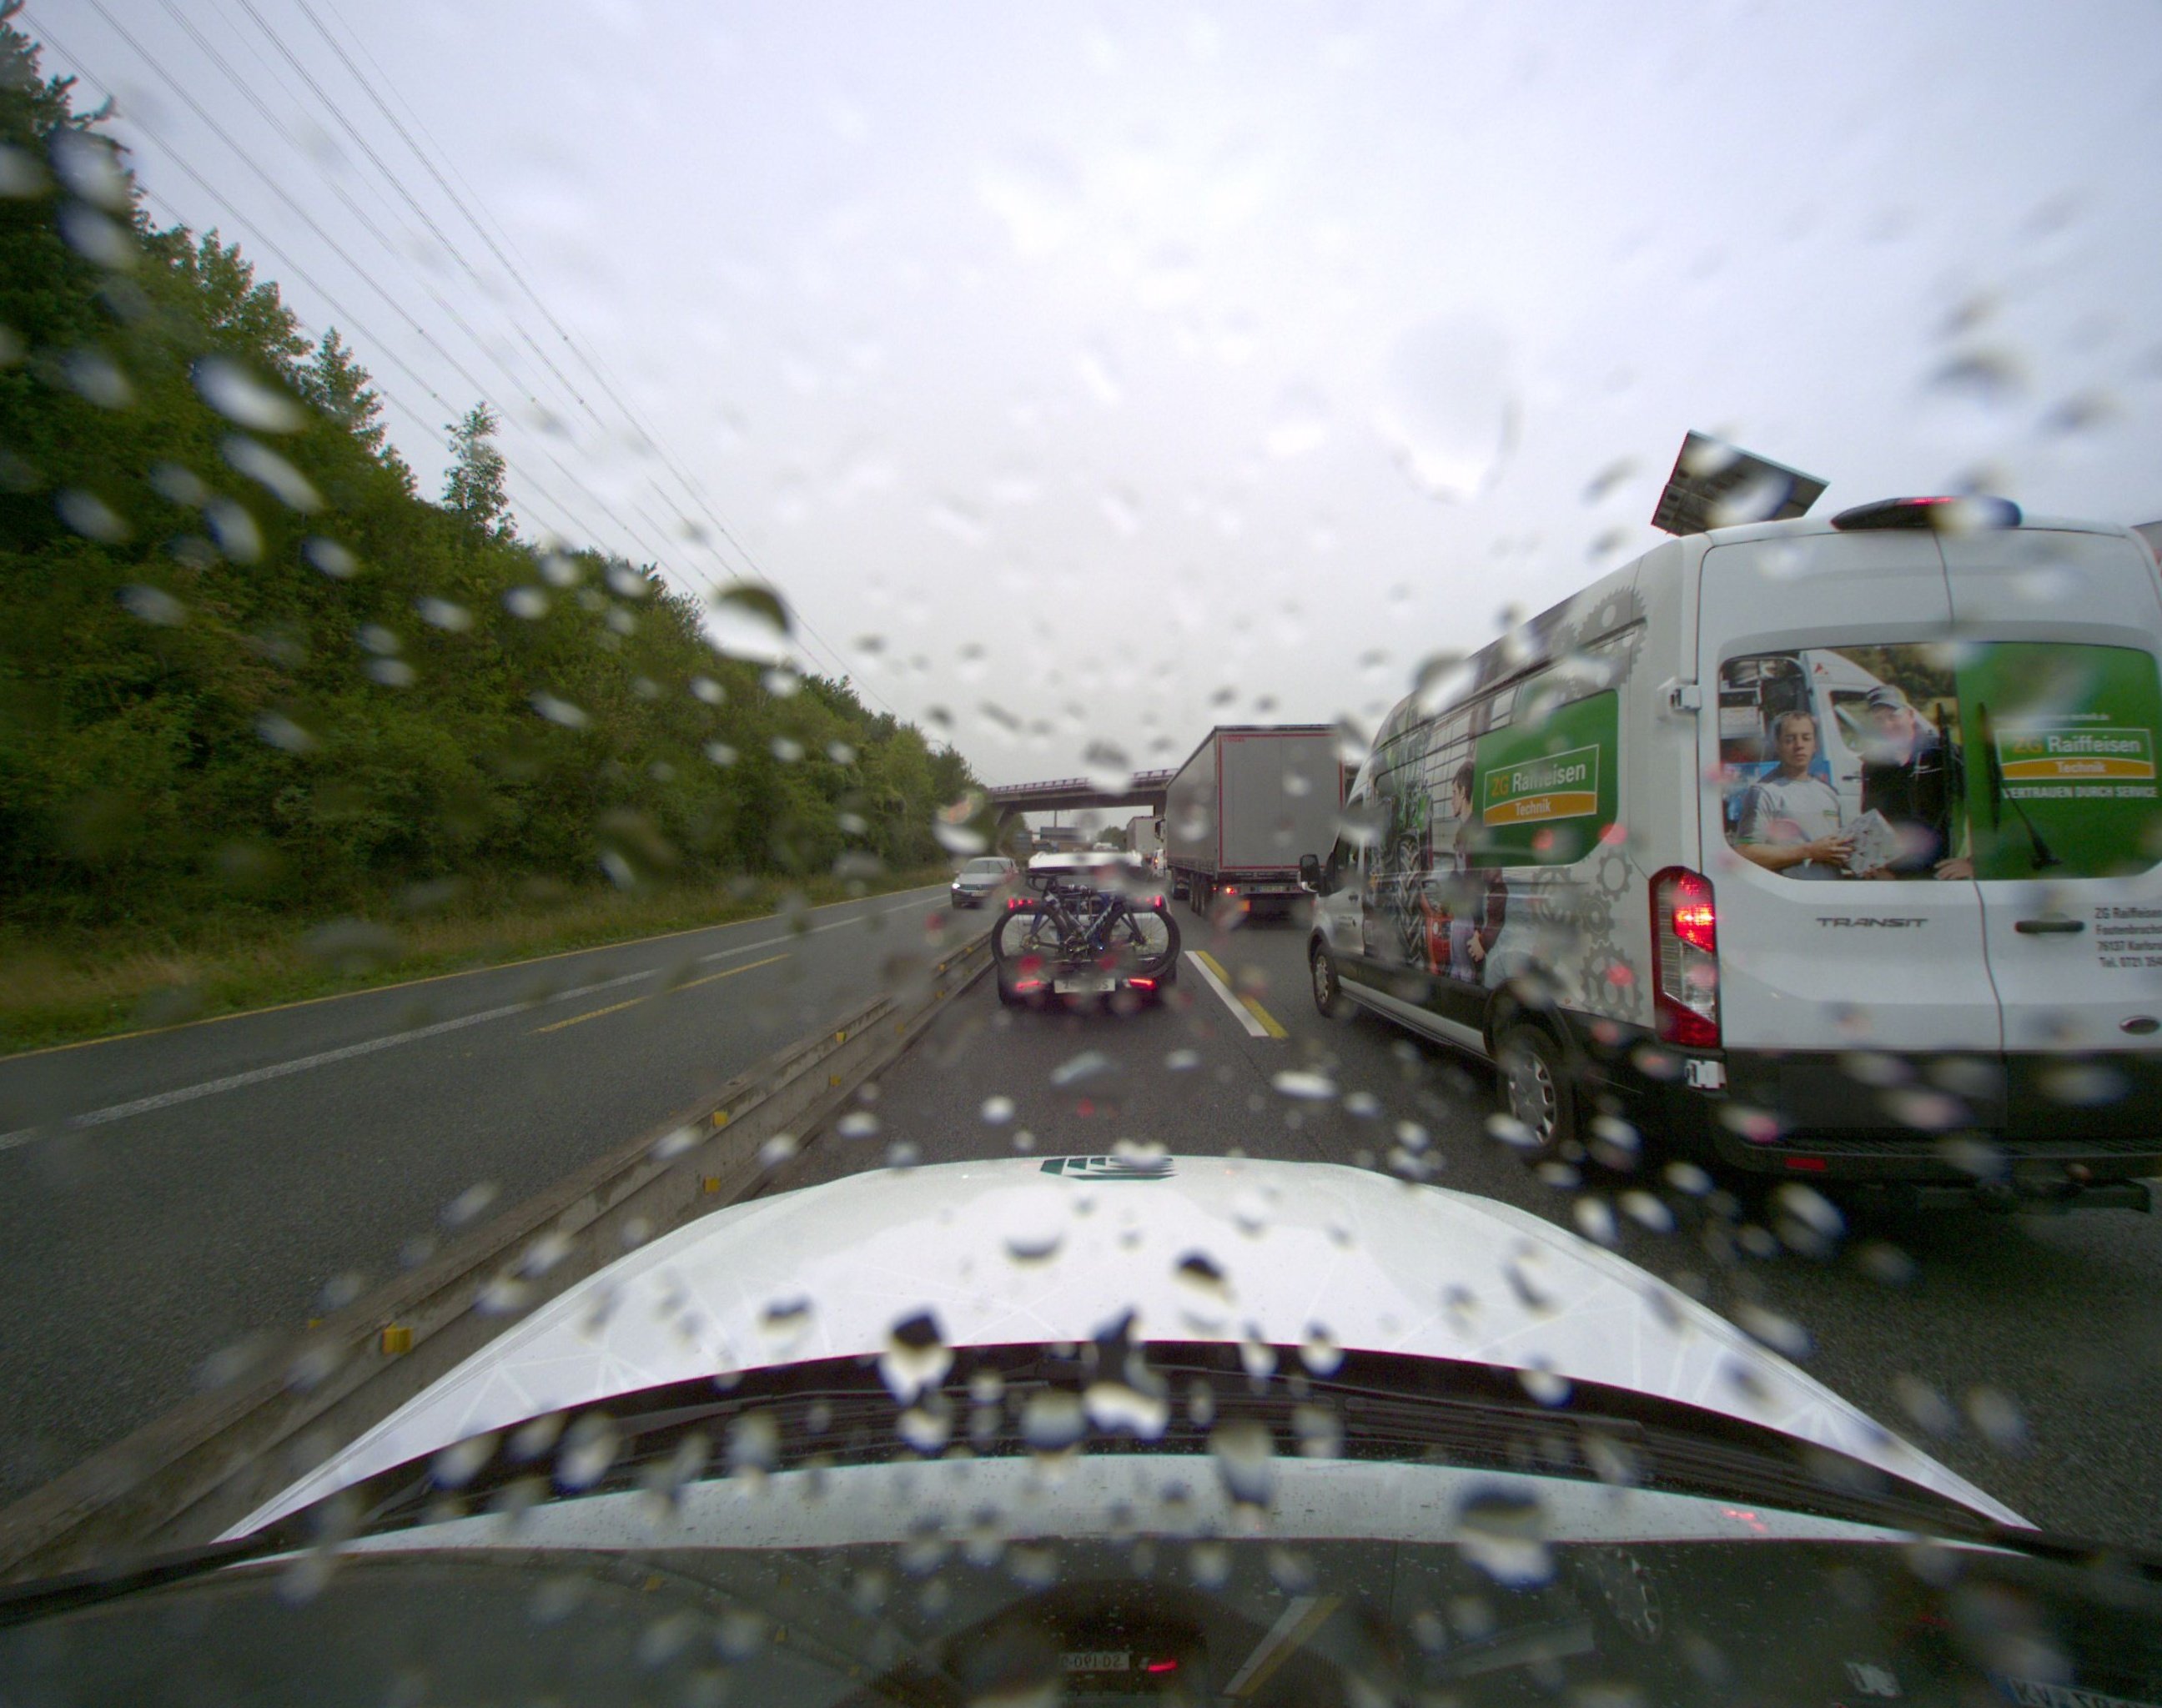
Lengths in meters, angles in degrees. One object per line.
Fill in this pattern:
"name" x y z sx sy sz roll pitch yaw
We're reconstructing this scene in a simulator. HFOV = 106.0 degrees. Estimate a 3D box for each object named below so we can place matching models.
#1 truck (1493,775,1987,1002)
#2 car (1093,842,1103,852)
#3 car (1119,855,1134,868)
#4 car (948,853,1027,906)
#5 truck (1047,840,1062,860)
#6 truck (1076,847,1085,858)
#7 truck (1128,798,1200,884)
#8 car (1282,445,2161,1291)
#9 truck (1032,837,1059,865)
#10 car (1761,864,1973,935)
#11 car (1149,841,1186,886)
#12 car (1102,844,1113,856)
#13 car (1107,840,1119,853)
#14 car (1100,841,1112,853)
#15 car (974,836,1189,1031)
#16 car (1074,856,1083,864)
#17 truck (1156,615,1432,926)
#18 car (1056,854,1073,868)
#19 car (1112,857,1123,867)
"truck" 11.475 0.518 15.908 2.511 3.132 9.122 -1 0 2
"car" 3.726 -1.463 178.819 1.986 2.126 4.529 -1 -1 2
"car" 5.196 0.839 93.107 1.632 1.497 3.668 -1 0 2
"car" -2.783 0.731 25.195 1.803 1.488 4.397 -1 0 1
"truck" -5.851 -0.765 178.778 2.760 4.123 16.906 -1 0 -3
"truck" -0.023 -0.522 263.347 2.526 3.352 12.053 -1 0 1
"truck" 6.162 -0.771 64.611 4.723 5.673 20.393 -1 0 3
"car" 3.150 0.058 5.644 2.136 2.676 6.119 -1 -1 1
"truck" -4.916 -0.325 114.429 2.671 3.656 12.318 -1 0 2
"car" 22.946 1.248 24.102 1.934 1.829 4.732 -1 0 4
"car" 4.428 0.462 42.082 1.663 2.180 4.538 -1 -1 3
"car" 4.682 -0.647 144.016 1.986 2.014 4.002 -1 -1 2
"car" 5.143 -1.214 131.132 1.986 2.014 4.002 -1 -1 2
"car" 4.800 -1.380 157.114 2.230 2.307 4.574 -1 -1 2
"car" 0.137 0.696 9.219 1.802 1.637 4.639 -1 0 3
"car" -0.420 1.004 147.837 1.680 1.409 3.930 -1 0 1
"truck" 4.849 -1.459 25.162 3.964 5.673 20.387 -1 0 2
"car" -1.808 0.792 90.838 1.773 1.443 4.329 -1 0 1
"car" 5.288 1.187 118.533 1.632 1.497 3.668 -1 0 2
